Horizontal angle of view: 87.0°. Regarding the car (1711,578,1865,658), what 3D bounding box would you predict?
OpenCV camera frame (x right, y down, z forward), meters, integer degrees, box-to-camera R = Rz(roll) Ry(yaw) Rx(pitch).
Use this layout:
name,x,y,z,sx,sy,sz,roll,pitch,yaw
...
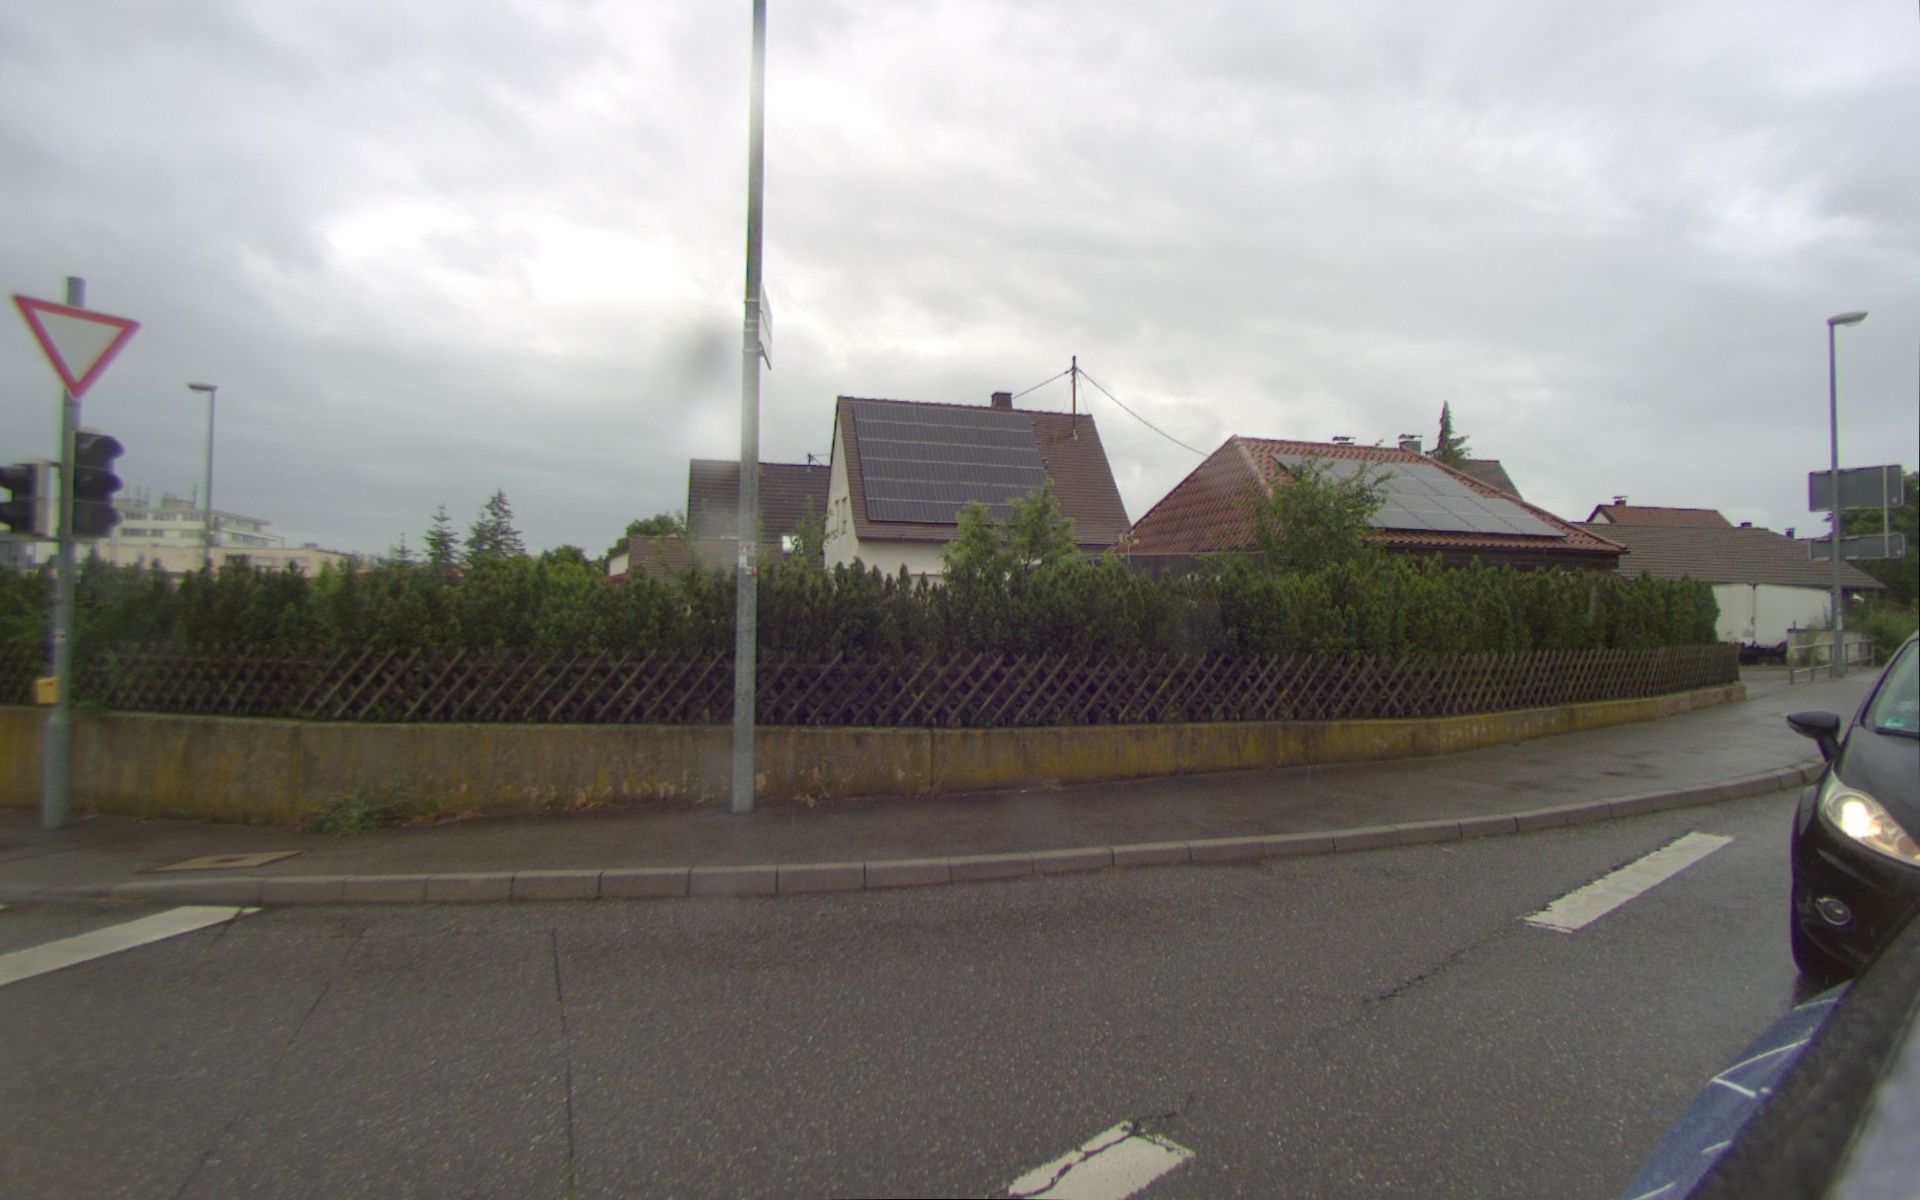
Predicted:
name,x,y,z,sx,sy,sz,roll,pitch,yaw
car,25.513,0.537,31.216,3.916,2.380,1.657,0,-1,-14

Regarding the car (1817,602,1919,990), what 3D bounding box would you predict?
name,x,y,z,sx,sy,sz,roll,pitch,yaw
car,5.425,0.752,4.787,3.867,1.436,1.663,-1,1,-43
